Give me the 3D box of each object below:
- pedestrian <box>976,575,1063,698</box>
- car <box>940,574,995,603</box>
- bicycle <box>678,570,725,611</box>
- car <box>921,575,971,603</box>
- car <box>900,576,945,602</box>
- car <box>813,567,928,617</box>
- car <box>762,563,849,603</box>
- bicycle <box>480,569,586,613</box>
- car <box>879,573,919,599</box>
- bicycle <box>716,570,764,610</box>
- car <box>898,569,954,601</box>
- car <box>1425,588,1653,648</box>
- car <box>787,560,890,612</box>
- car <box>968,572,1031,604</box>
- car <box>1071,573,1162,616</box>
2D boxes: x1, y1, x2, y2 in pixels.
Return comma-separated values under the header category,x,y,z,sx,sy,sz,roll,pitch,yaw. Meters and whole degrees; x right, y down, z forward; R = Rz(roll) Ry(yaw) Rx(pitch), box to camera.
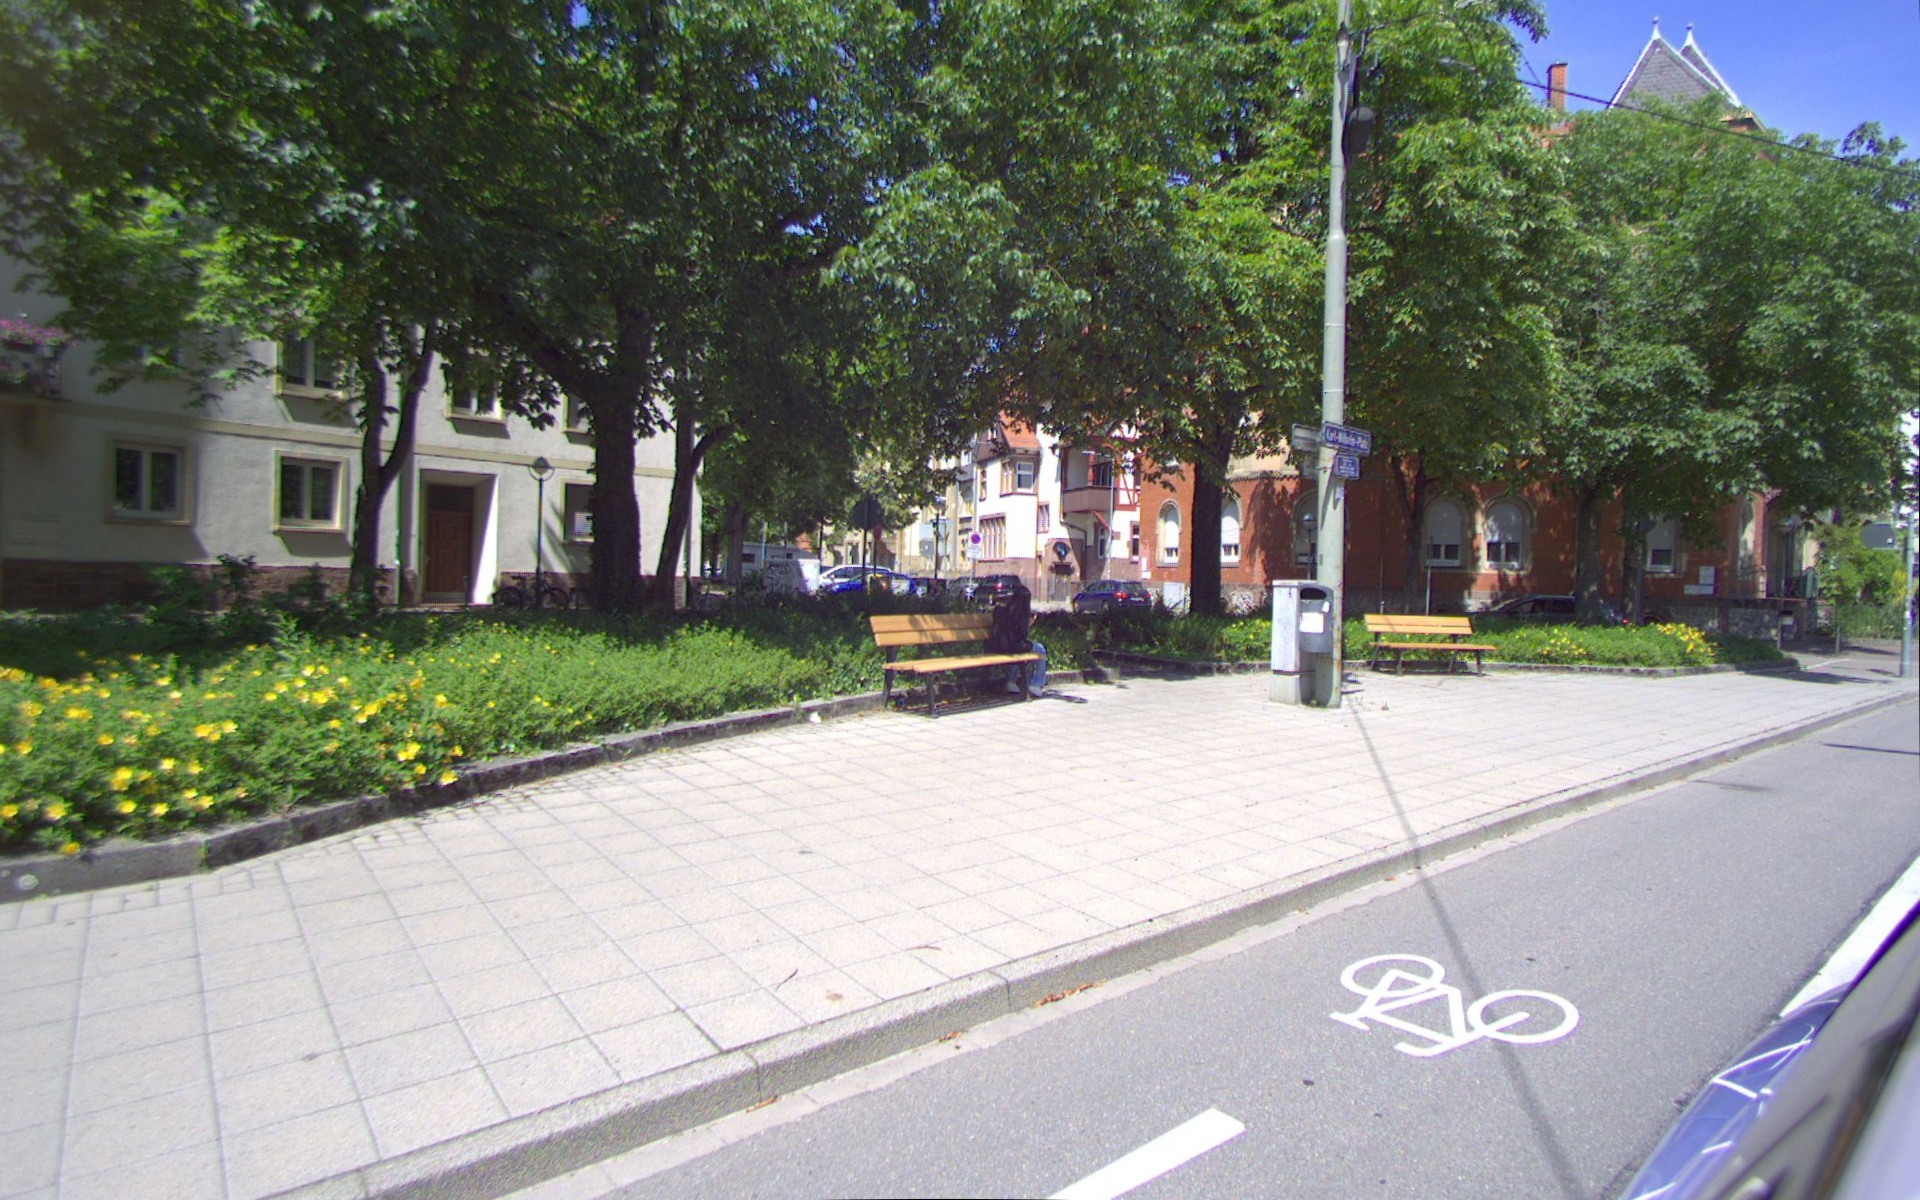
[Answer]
category,x,y,z,sx,sy,sz,roll,pitch,yaw
pedestrian,0.596,0.339,10.078,0.562,1.156,0.718,3,2,33
car,0.372,-0.655,58.685,1.897,1.638,4.318,0,0,-19
bicycle,-6.780,-0.259,26.477,0.736,1.024,2.273,0,0,-26
car,-0.926,-0.692,63.256,1.897,1.638,4.318,0,0,-19
car,-2.575,-0.728,67.952,1.897,1.638,4.318,0,0,-19
car,-3.550,-0.322,40.019,4.219,1.903,1.942,0,0,-18
car,-8.091,-0.883,52.940,4.219,2.029,1.942,0,0,-18
bicycle,-10.257,-0.221,24.377,2.230,1.024,0.751,-1,0,-41
car,-4.511,-1.008,74.464,1.897,1.897,4.318,0,0,-19
bicycle,-5.872,-0.267,26.906,0.736,1.024,2.273,0,0,-26
car,-1.751,-0.759,50.438,1.669,1.525,3.660,1,1,-21
car,15.295,0.450,27.080,4.968,1.501,1.927,0,0,18
car,-5.378,-0.628,44.831,4.219,2.219,1.942,0,0,-18
car,2.059,-0.619,54.078,1.897,1.638,4.318,0,0,-19
car,6.269,-0.232,41.029,1.897,1.638,4.318,0,0,-19
